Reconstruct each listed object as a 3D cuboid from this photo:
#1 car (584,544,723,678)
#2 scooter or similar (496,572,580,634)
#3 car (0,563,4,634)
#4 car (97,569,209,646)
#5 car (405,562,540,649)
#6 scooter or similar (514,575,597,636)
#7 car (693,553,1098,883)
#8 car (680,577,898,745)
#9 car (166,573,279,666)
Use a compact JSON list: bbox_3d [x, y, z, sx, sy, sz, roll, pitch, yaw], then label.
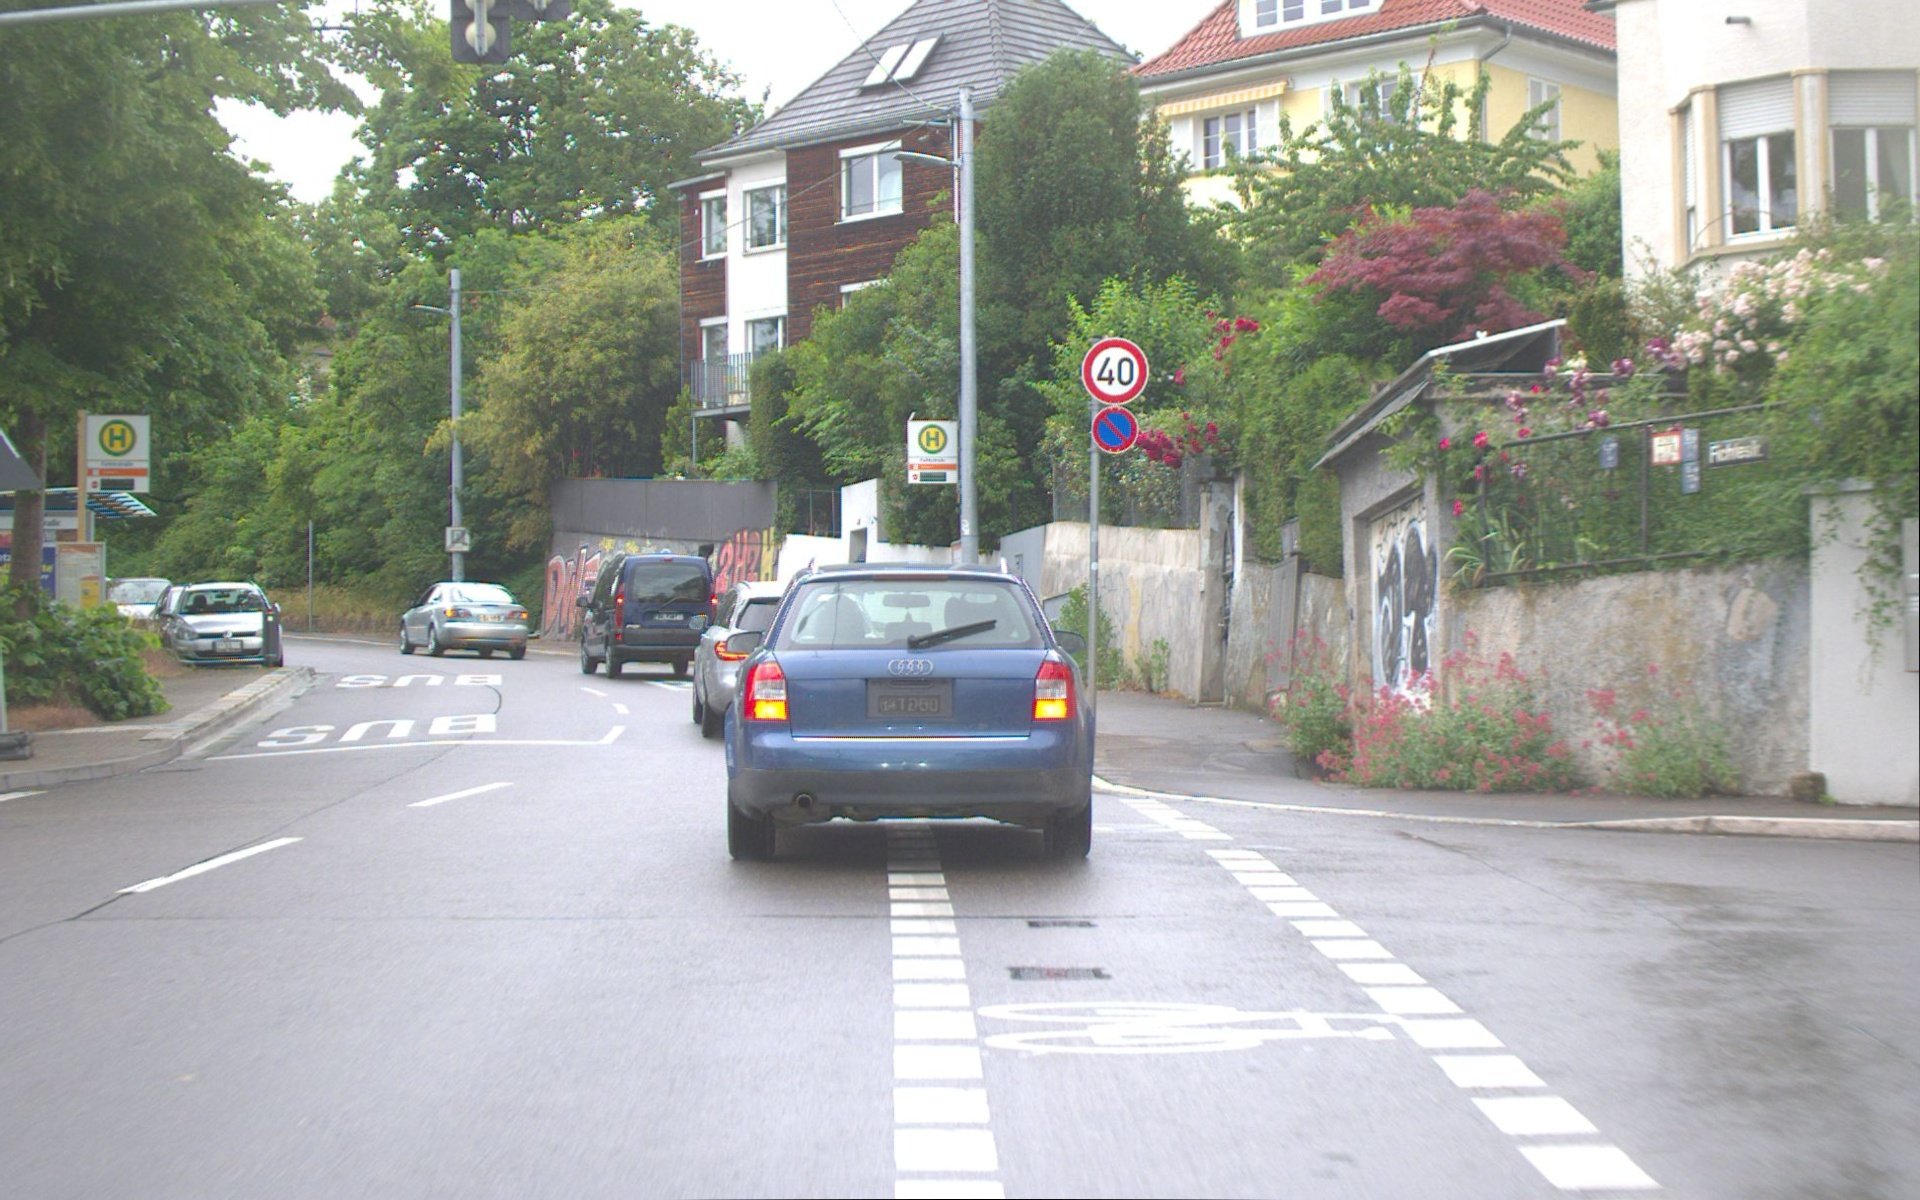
[{"bbox_3d":[-4.628,0.134,51.530,1.730,1.888,4.056,-1,1,-9],"label":"car"},{"bbox_3d":[-9.977,0.075,81.259,1.833,1.310,0.600,5,-3,-13],"label":"scooter or similar"},{"bbox_3d":[-25.005,-0.003,84.598,1.993,1.722,4.000,-2,1,-28],"label":"car"},{"bbox_3d":[-15.855,0.122,67.435,1.673,1.422,4.001,-2,1,-19],"label":"car"},{"bbox_3d":[-9.297,0.089,65.302,1.765,1.564,4.031,-2,1,-19],"label":"car"},{"bbox_3d":[-9.705,0.132,82.532,1.833,1.310,0.600,5,-3,-13],"label":"scooter or similar"},{"bbox_3d":[-0.252,0.507,17.369,1.777,1.434,4.000,1,1,1],"label":"car"},{"bbox_3d":[-1.681,0.533,33.148,1.908,1.383,4.351,2,1,-4],"label":"car"},{"bbox_3d":[-12.089,0.285,56.215,1.673,1.422,4.001,-1,1,-14],"label":"car"}]
